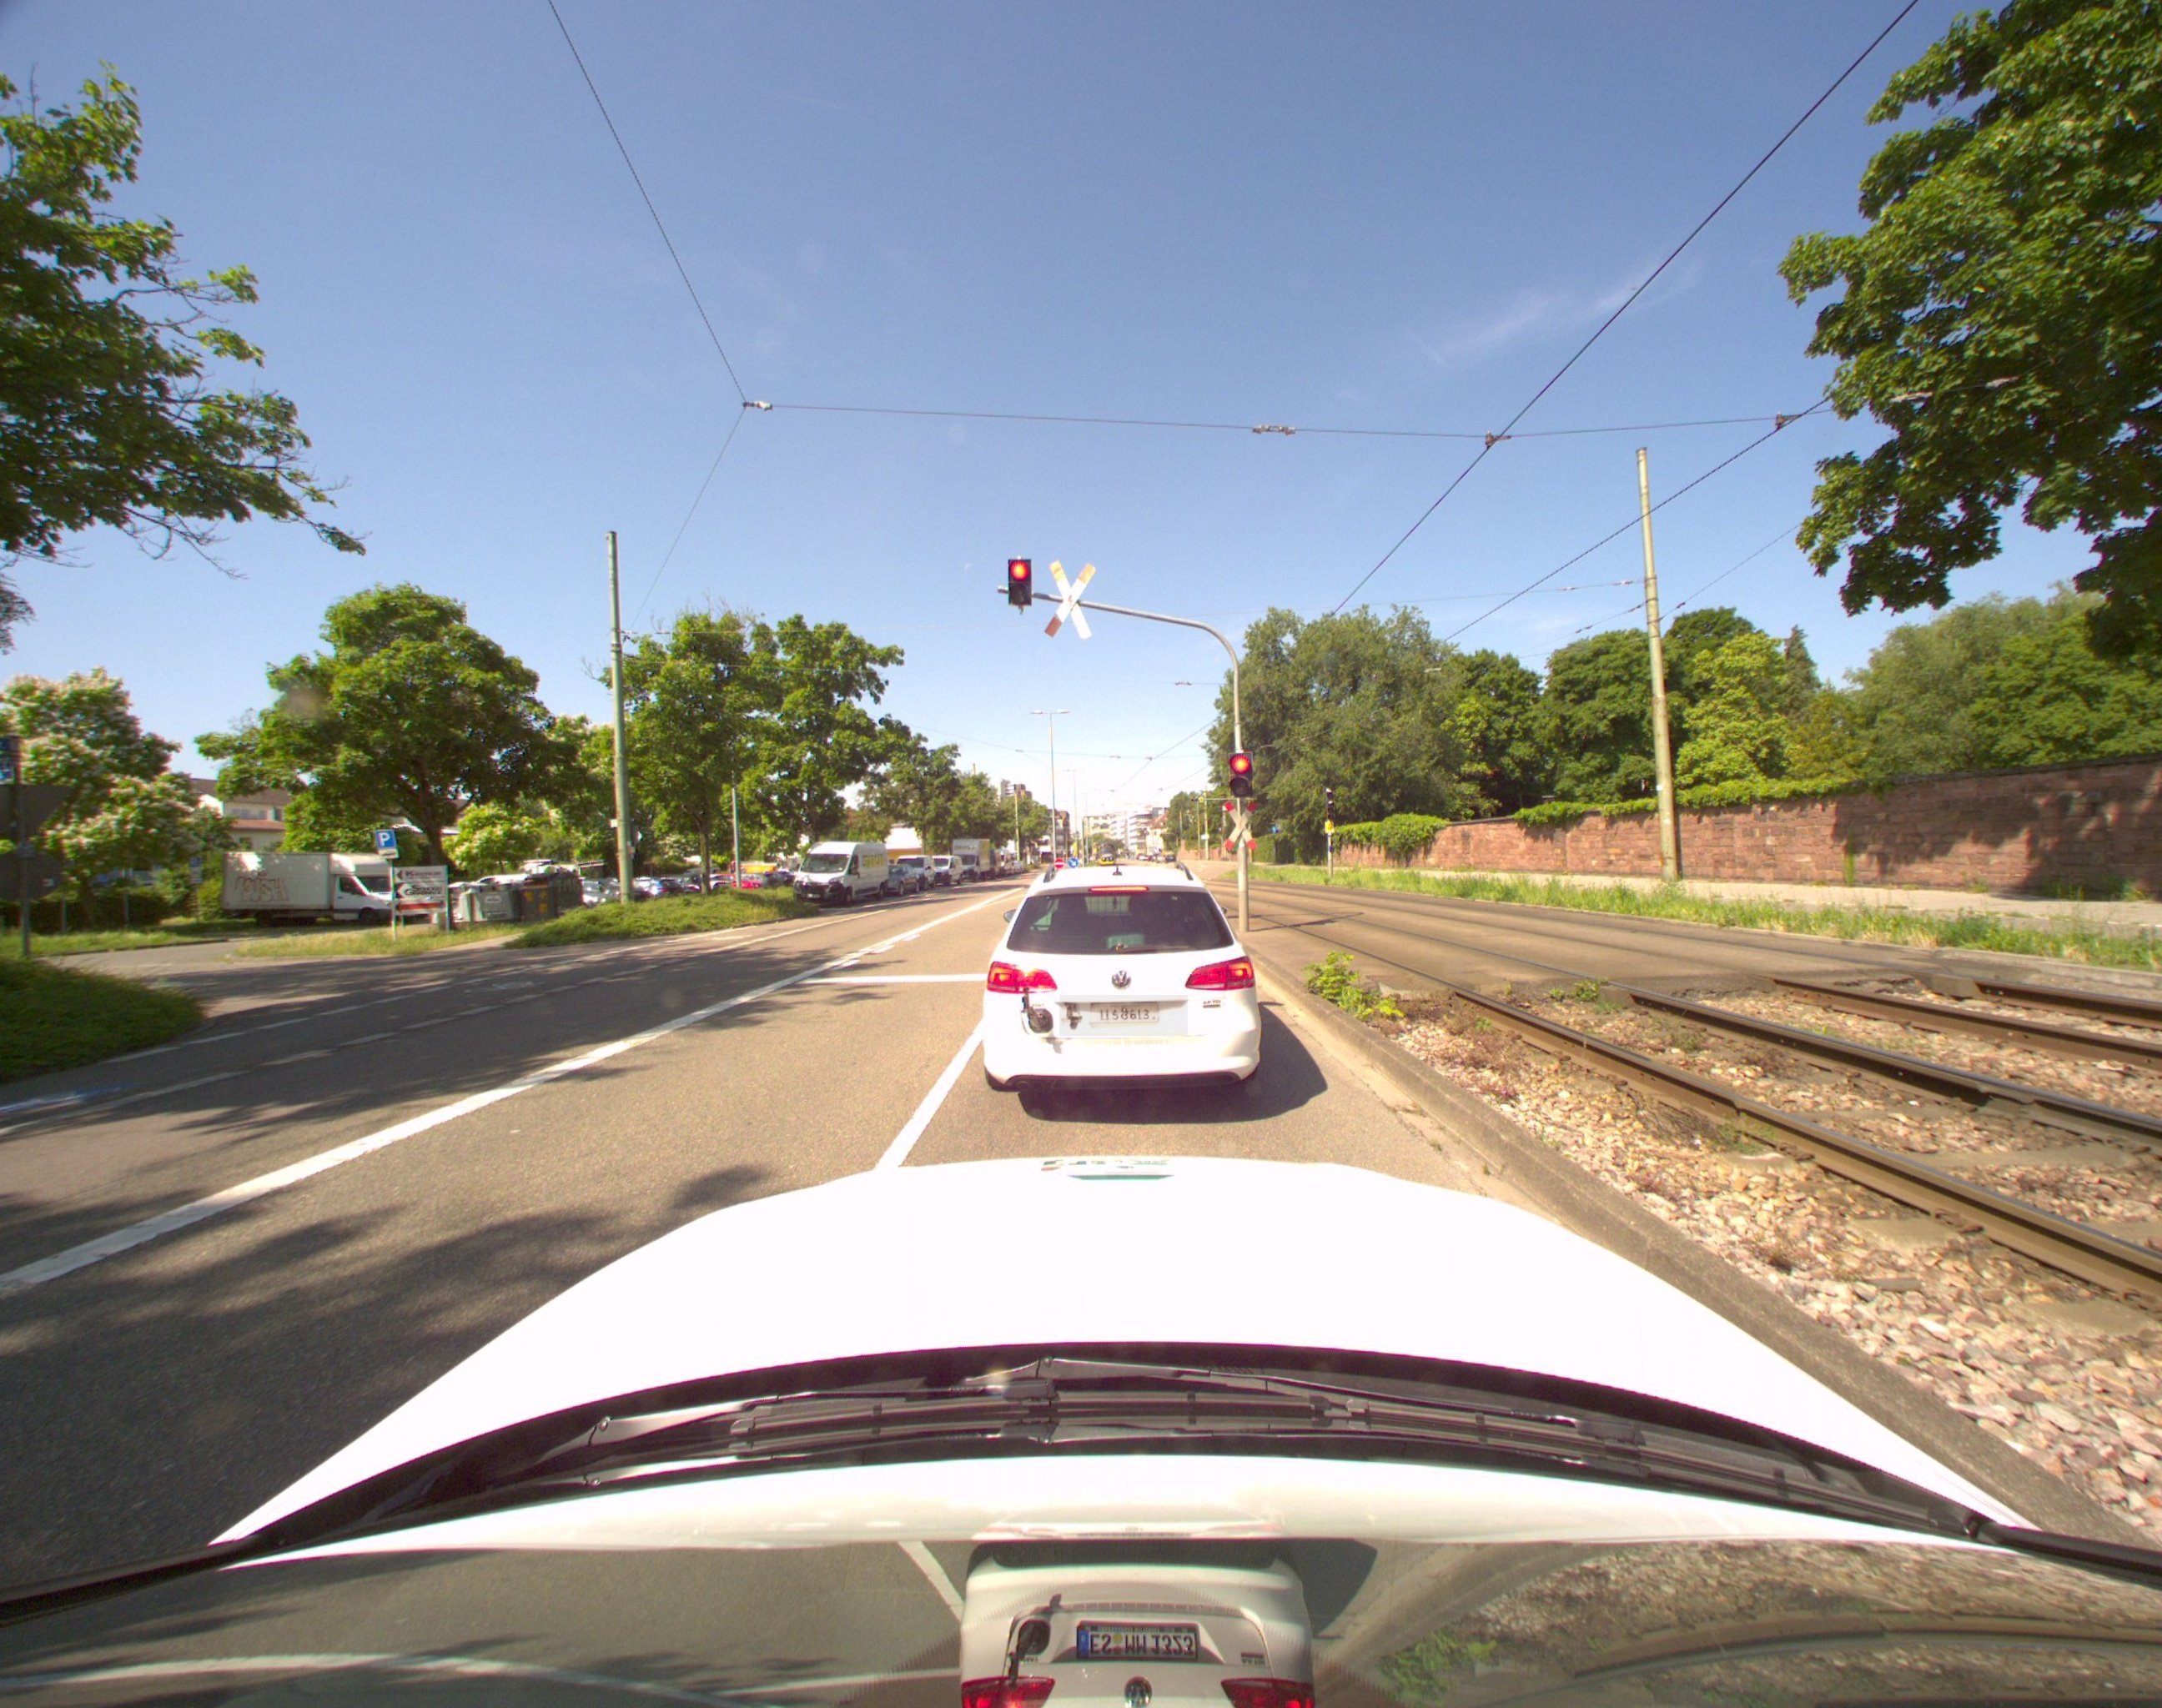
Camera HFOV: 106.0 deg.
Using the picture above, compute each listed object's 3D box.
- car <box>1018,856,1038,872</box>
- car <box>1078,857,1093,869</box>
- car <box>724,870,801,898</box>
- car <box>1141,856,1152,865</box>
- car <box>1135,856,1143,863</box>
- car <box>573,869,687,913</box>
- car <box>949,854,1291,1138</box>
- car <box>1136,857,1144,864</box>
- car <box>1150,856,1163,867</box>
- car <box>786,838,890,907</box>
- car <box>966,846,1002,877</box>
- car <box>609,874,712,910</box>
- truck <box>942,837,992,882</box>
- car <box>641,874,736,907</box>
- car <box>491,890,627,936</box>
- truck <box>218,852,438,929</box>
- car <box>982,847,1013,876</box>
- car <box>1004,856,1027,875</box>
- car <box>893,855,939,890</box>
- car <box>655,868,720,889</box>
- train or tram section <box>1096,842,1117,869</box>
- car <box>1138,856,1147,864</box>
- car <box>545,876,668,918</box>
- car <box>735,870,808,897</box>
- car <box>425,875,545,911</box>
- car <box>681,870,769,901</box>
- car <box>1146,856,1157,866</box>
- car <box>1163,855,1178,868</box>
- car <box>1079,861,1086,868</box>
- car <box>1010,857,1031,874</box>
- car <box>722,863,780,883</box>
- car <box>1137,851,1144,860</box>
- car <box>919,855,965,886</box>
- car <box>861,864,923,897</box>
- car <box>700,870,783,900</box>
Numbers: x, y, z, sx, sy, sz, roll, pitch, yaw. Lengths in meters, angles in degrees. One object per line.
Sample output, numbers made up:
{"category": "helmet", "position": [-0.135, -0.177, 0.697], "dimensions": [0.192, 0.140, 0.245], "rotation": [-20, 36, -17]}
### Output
{"category": "car", "position": [-6.387, 1.141, 98.952], "dimensions": [1.856, 1.868, 5.415], "rotation": [0, 0, 1]}
{"category": "car", "position": [0.636, 1.203, 112.396], "dimensions": [1.698, 1.473, 4.593], "rotation": [-3, 0, 3]}
{"category": "car", "position": [-19.458, 1.818, 49.892], "dimensions": [3.977, 1.415, 1.729], "rotation": [-4, -1, -3]}
{"category": "car", "position": [14.008, 1.385, 174.175], "dimensions": [1.857, 1.868, 5.063], "rotation": [0, 0, 1]}
{"category": "car", "position": [16.163, 1.536, 226.911], "dimensions": [1.857, 1.868, 5.063], "rotation": [0, 0, 1]}
{"category": "car", "position": [-19.913, 1.626, 36.079], "dimensions": [3.977, 1.610, 1.729], "rotation": [-4, -1, -3]}
{"category": "car", "position": [0.268, 0.757, 6.328], "dimensions": [1.756, 1.430, 4.002], "rotation": [-3, 0, 2]}
{"category": "car", "position": [15.270, 1.720, 210.530], "dimensions": [1.857, 1.868, 5.063], "rotation": [0, 0, 1]}
{"category": "car", "position": [13.156, 1.334, 141.434], "dimensions": [1.857, 1.868, 5.063], "rotation": [0, 0, 1]}
{"category": "car", "position": [-9.574, 0.685, 32.727], "dimensions": [2.114, 2.516, 5.822], "rotation": [0, 0, 3]}
{"category": "car", "position": [-8.143, 0.614, 68.700], "dimensions": [2.114, 2.516, 5.737], "rotation": [0, 0, 2]}
{"category": "car", "position": [-20.330, 1.803, 39.457], "dimensions": [3.977, 1.415, 1.729], "rotation": [-4, -1, -3]}
{"category": "truck", "position": [-8.378, 0.410, 60.701], "dimensions": [2.411, 3.150, 7.001], "rotation": [0, 0, 2]}
{"category": "car", "position": [-20.284, 1.866, 42.226], "dimensions": [3.977, 1.415, 1.729], "rotation": [-4, -1, -3]}
{"category": "car", "position": [-19.895, 2.232, 31.179], "dimensions": [3.977, 1.415, 1.729], "rotation": [-4, -1, -3]}
{"category": "truck", "position": [-32.383, 1.518, 35.209], "dimensions": [6.978, 3.110, 2.677], "rotation": [0, 0, 0]}
{"category": "car", "position": [-7.736, 0.673, 76.131], "dimensions": [2.114, 2.516, 5.737], "rotation": [0, 0, 2]}
{"category": "car", "position": [-6.820, 1.169, 85.221], "dimensions": [1.856, 1.868, 5.415], "rotation": [0, 0, 1]}
{"category": "car", "position": [-9.190, 0.989, 45.700], "dimensions": [1.859, 1.868, 5.068], "rotation": [0, 0, -3]}
{"category": "car", "position": [-35.193, 2.191, 72.985], "dimensions": [4.780, 1.787, 2.062], "rotation": [0, -1, -3]}
{"category": "train or tram section", "position": [3.988, 0.190, 127.934], "dimensions": [2.860, 3.855, 12.396], "rotation": [-3, 0, 2]}
{"category": "car", "position": [14.882, 1.426, 197.445], "dimensions": [1.857, 1.868, 5.063], "rotation": [0, 0, 1]}
{"category": "car", "position": [-19.663, 1.767, 33.872], "dimensions": [3.977, 1.415, 1.729], "rotation": [-4, -1, -3]}
{"category": "car", "position": [-19.788, 1.863, 52.199], "dimensions": [3.977, 1.415, 1.729], "rotation": [-4, -1, -3]}
{"category": "car", "position": [-31.762, 2.044, 43.488], "dimensions": [4.780, 1.787, 2.062], "rotation": [0, -1, -3]}
{"category": "car", "position": [-19.534, 1.720, 44.742], "dimensions": [3.977, 1.415, 1.729], "rotation": [-4, -1, -3]}
{"category": "car", "position": [13.616, 1.258, 157.330], "dimensions": [1.857, 1.868, 5.063], "rotation": [0, 0, 1]}
{"category": "car", "position": [13.774, 1.127, 126.125], "dimensions": [1.857, 1.868, 5.063], "rotation": [0, 0, 1]}
{"category": "car", "position": [0.414, 2.702, 214.918], "dimensions": [1.756, 1.896, 4.916], "rotation": [0, -1, 2]}
{"category": "car", "position": [-6.769, 1.307, 92.038], "dimensions": [1.856, 1.868, 5.415], "rotation": [0, 0, 1]}
{"category": "car", "position": [-31.556, 1.815, 77.975], "dimensions": [4.780, 1.787, 2.062], "rotation": [0, -1, -3]}
{"category": "car", "position": [18.268, 0.514, 250.877], "dimensions": [2.049, 2.759, 5.632], "rotation": [0, 0, 1]}
{"category": "car", "position": [-8.866, 1.009, 52.280], "dimensions": [1.856, 1.868, 5.415], "rotation": [0, 0, 1]}
{"category": "car", "position": [-8.979, 1.220, 39.088], "dimensions": [1.856, 1.415, 4.281], "rotation": [0, 0, 1]}
{"category": "car", "position": [-19.604, 1.765, 47.076], "dimensions": [3.977, 1.415, 1.729], "rotation": [-4, -1, -3]}
